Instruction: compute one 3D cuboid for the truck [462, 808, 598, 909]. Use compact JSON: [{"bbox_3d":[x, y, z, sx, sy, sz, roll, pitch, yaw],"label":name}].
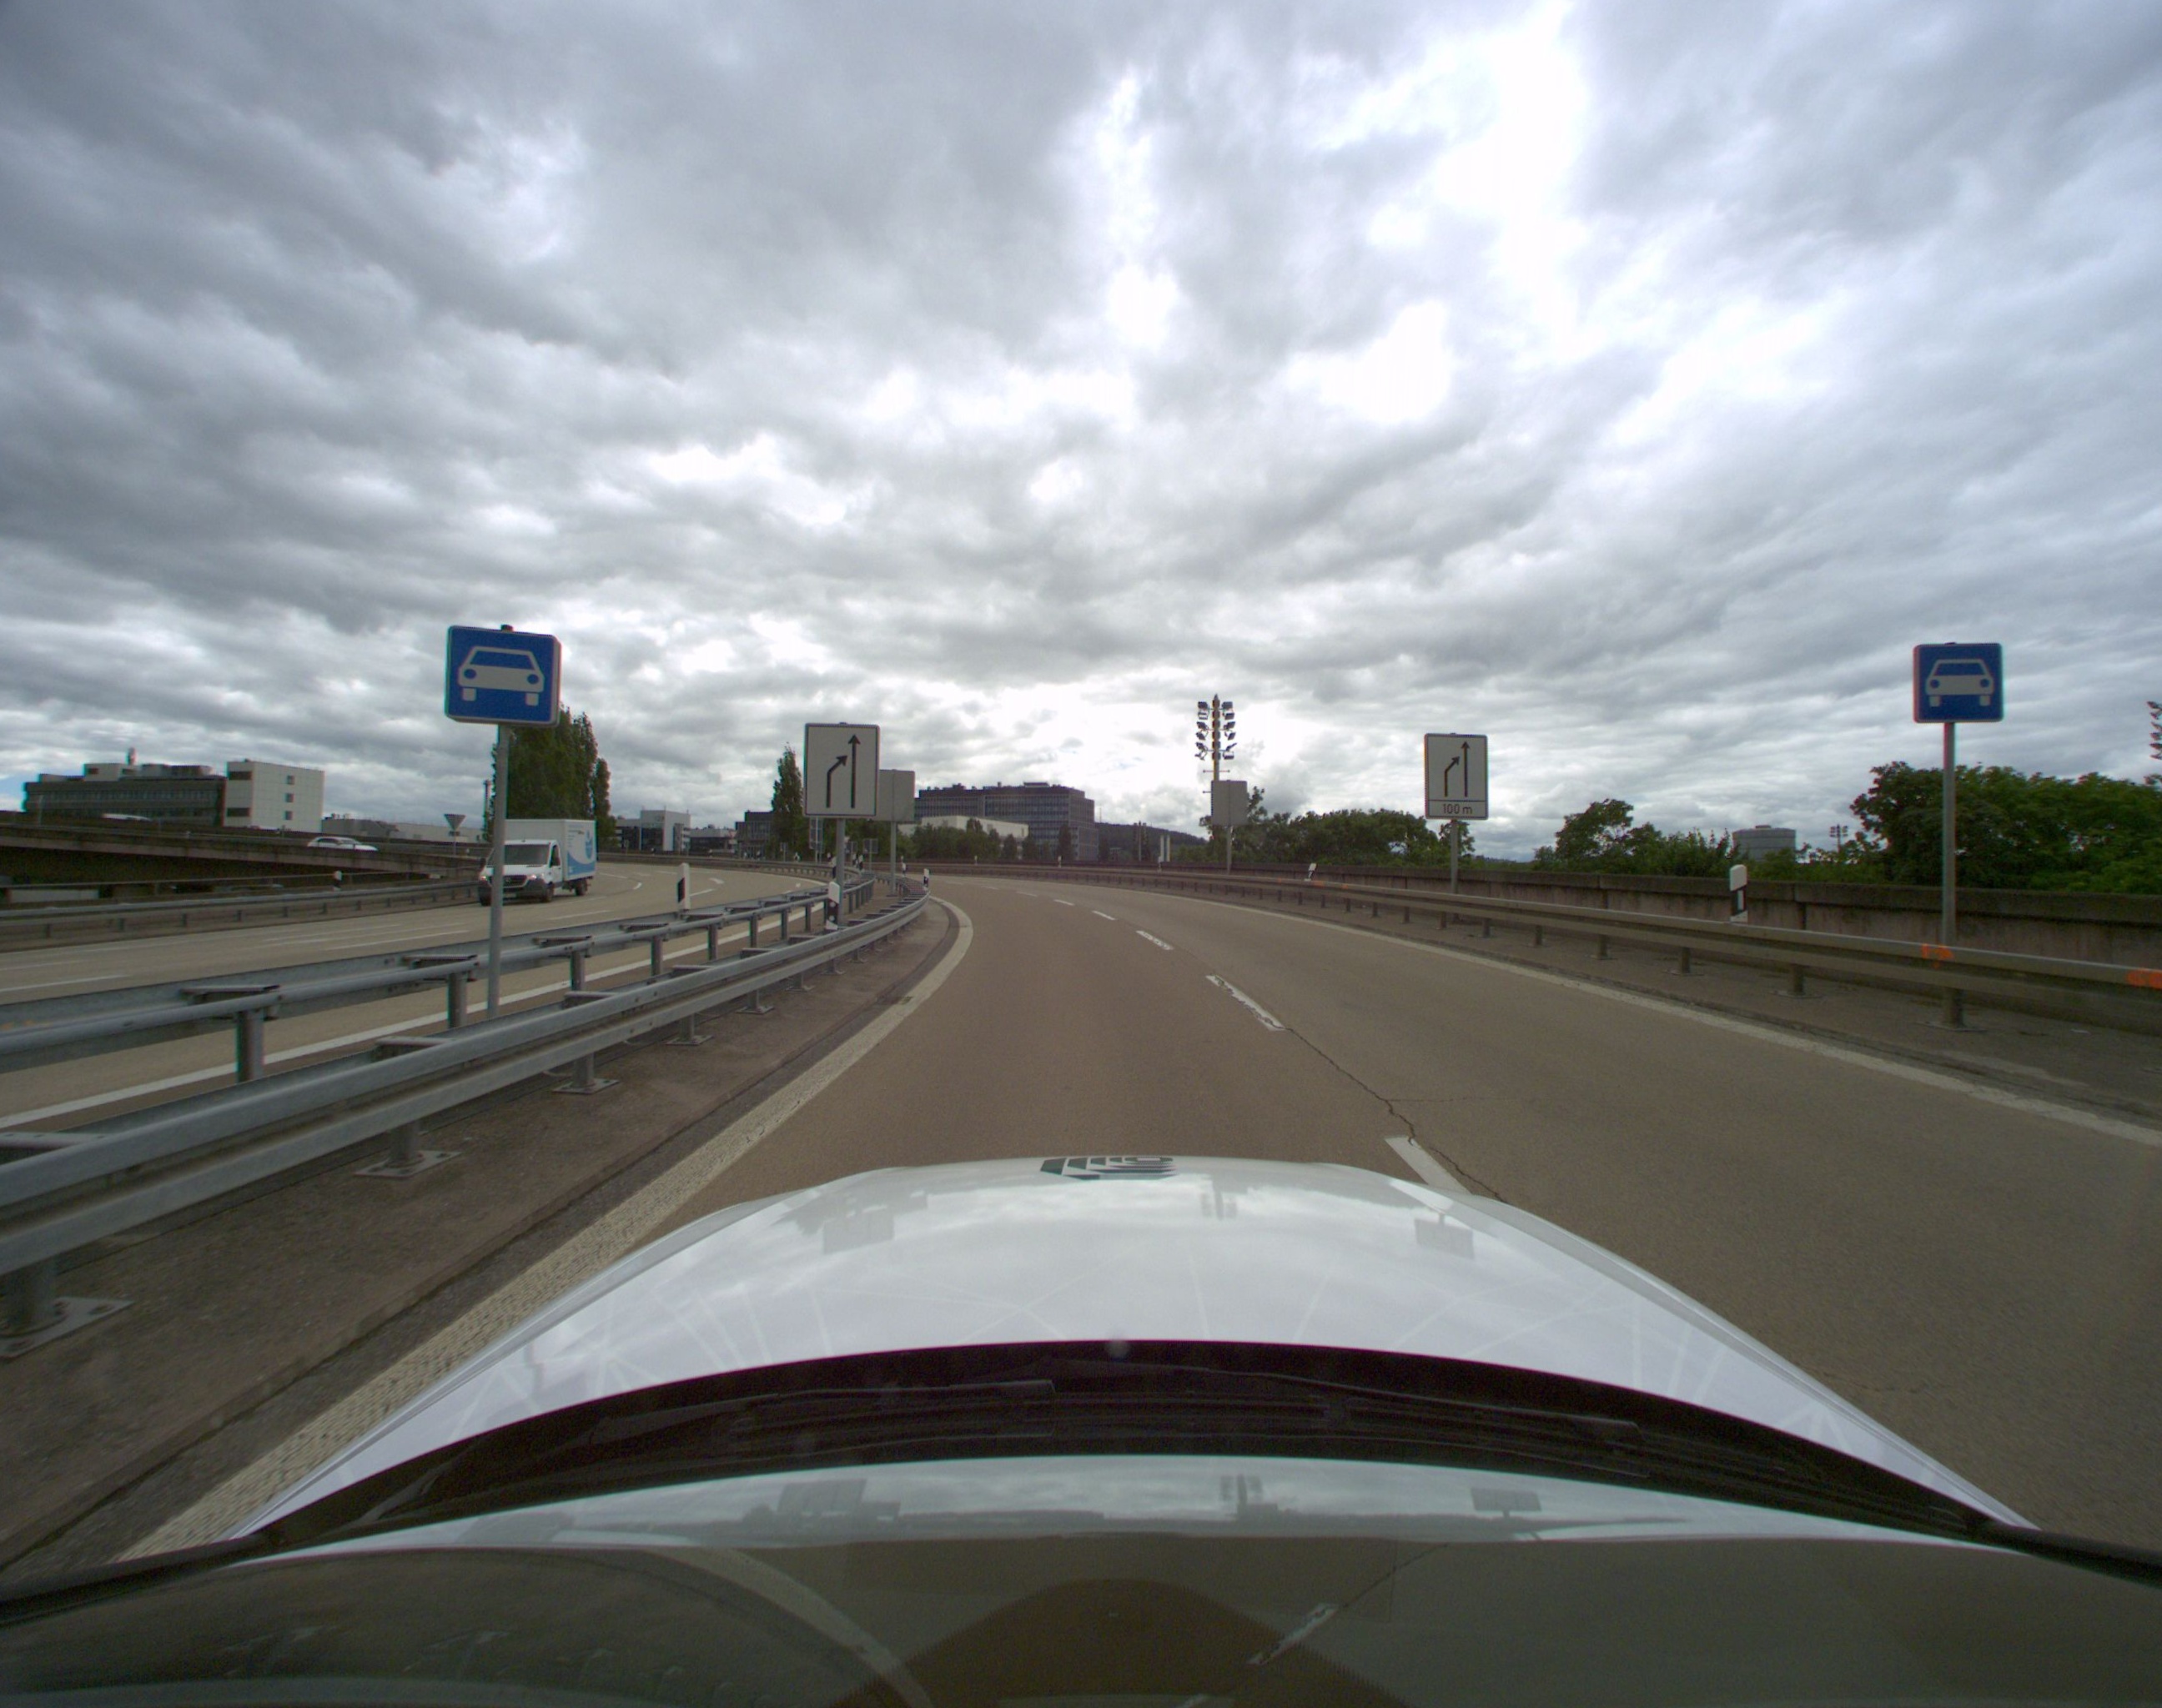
[{"bbox_3d":[-19.986,0.054,29.997,2.352,3.262,6.951,2,2,-19],"label":"truck"}]
